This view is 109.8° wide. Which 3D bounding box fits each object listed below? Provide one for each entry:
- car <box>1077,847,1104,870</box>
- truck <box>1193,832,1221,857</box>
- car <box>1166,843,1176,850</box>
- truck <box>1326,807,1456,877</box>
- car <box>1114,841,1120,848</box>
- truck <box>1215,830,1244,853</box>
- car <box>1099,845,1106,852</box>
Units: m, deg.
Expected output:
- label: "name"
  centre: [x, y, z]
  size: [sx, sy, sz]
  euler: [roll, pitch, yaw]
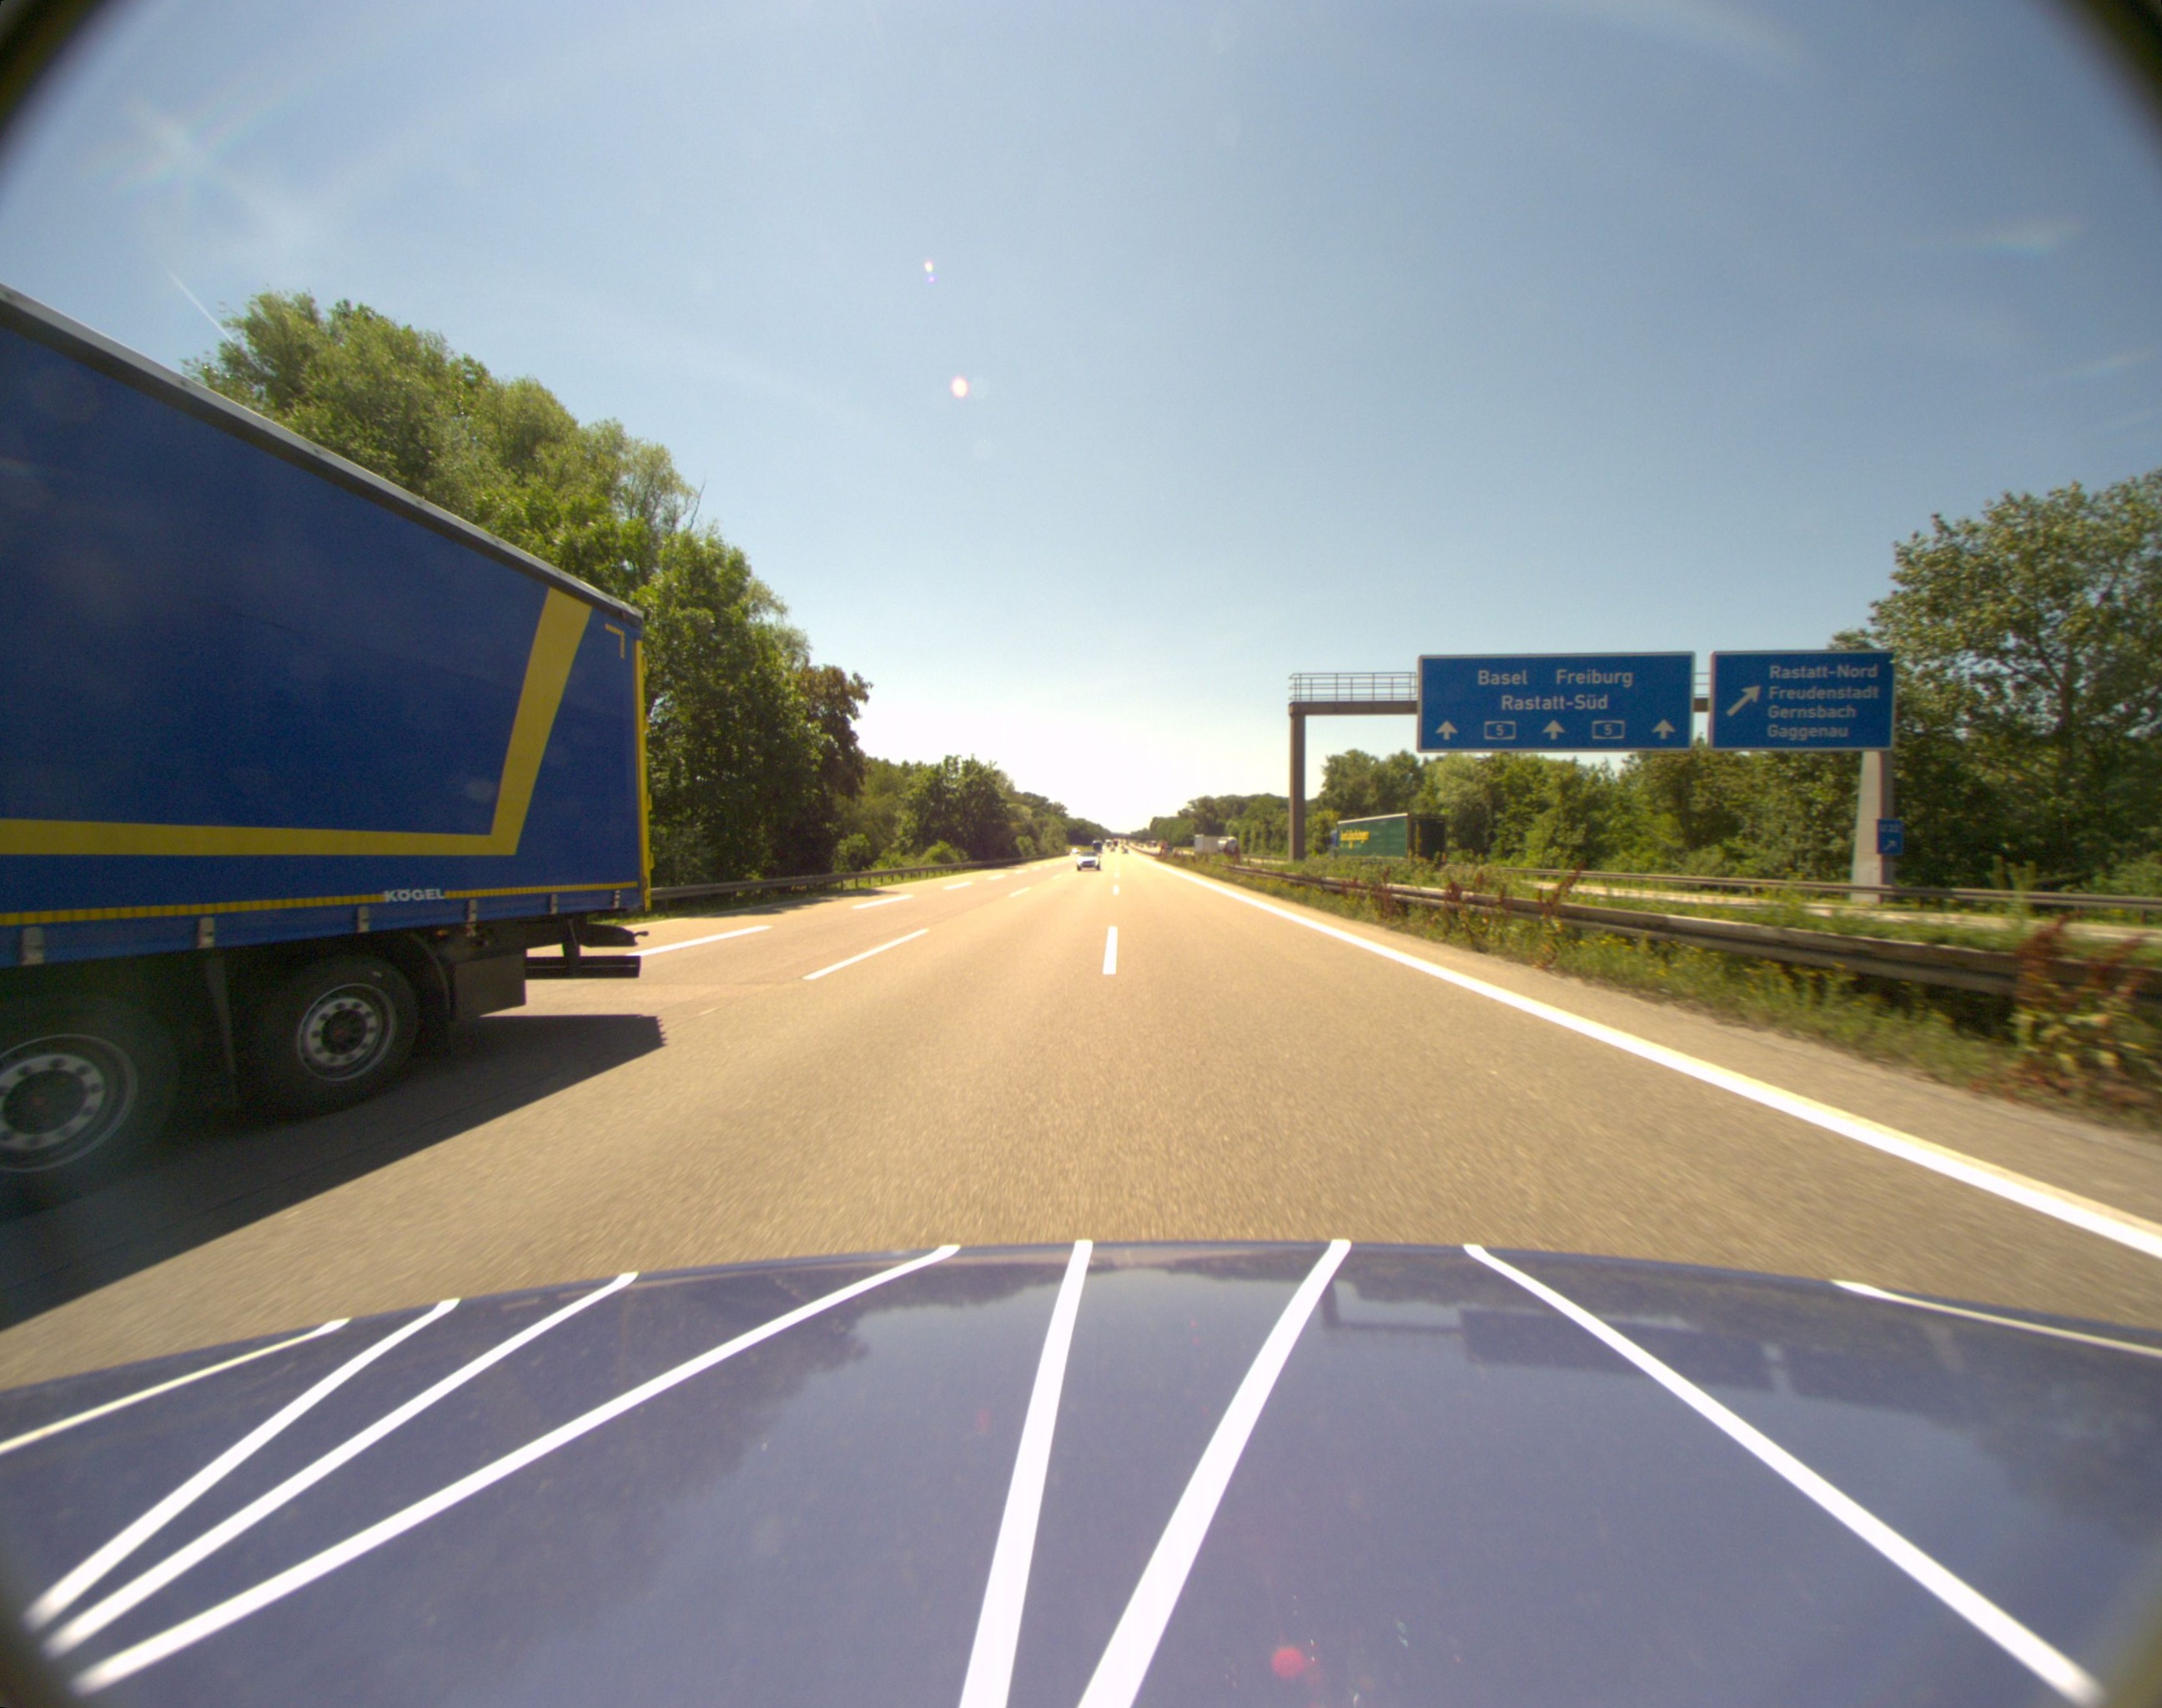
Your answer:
- label: "car"
  centre: [0.773, 0.312, 57.299]
  size: [1.845, 1.565, 4.000]
  euler: [-1, 1, 3]
- label: "truck"
  centre: [22.538, -1.653, 137.197]
  size: [2.962, 4.221, 17.182]
  euler: [0, 1, 3]
- label: "car"
  centre: [20.678, -1.782, 175.508]
  size: [1.998, 1.580, 4.818]
  euler: [0, 1, 4]
- label: "truck"
  centre: [22.327, -0.861, 56.660]
  size: [2.962, 4.317, 18.242]
  euler: [0, 1, 3]
- label: "car"
  centre: [11.623, -3.124, 246.944]
  size: [1.840, 2.002, 4.000]
  euler: [0, 1, 4]
- label: "truck"
  centre: [27.264, -2.278, 140.237]
  size: [2.962, 3.995, 15.821]
  euler: [0, 1, 3]
- label: "car"
  centre: [5.982, -1.599, 210.198]
  size: [1.998, 2.002, 4.000]
  euler: [0, 1, 1]
